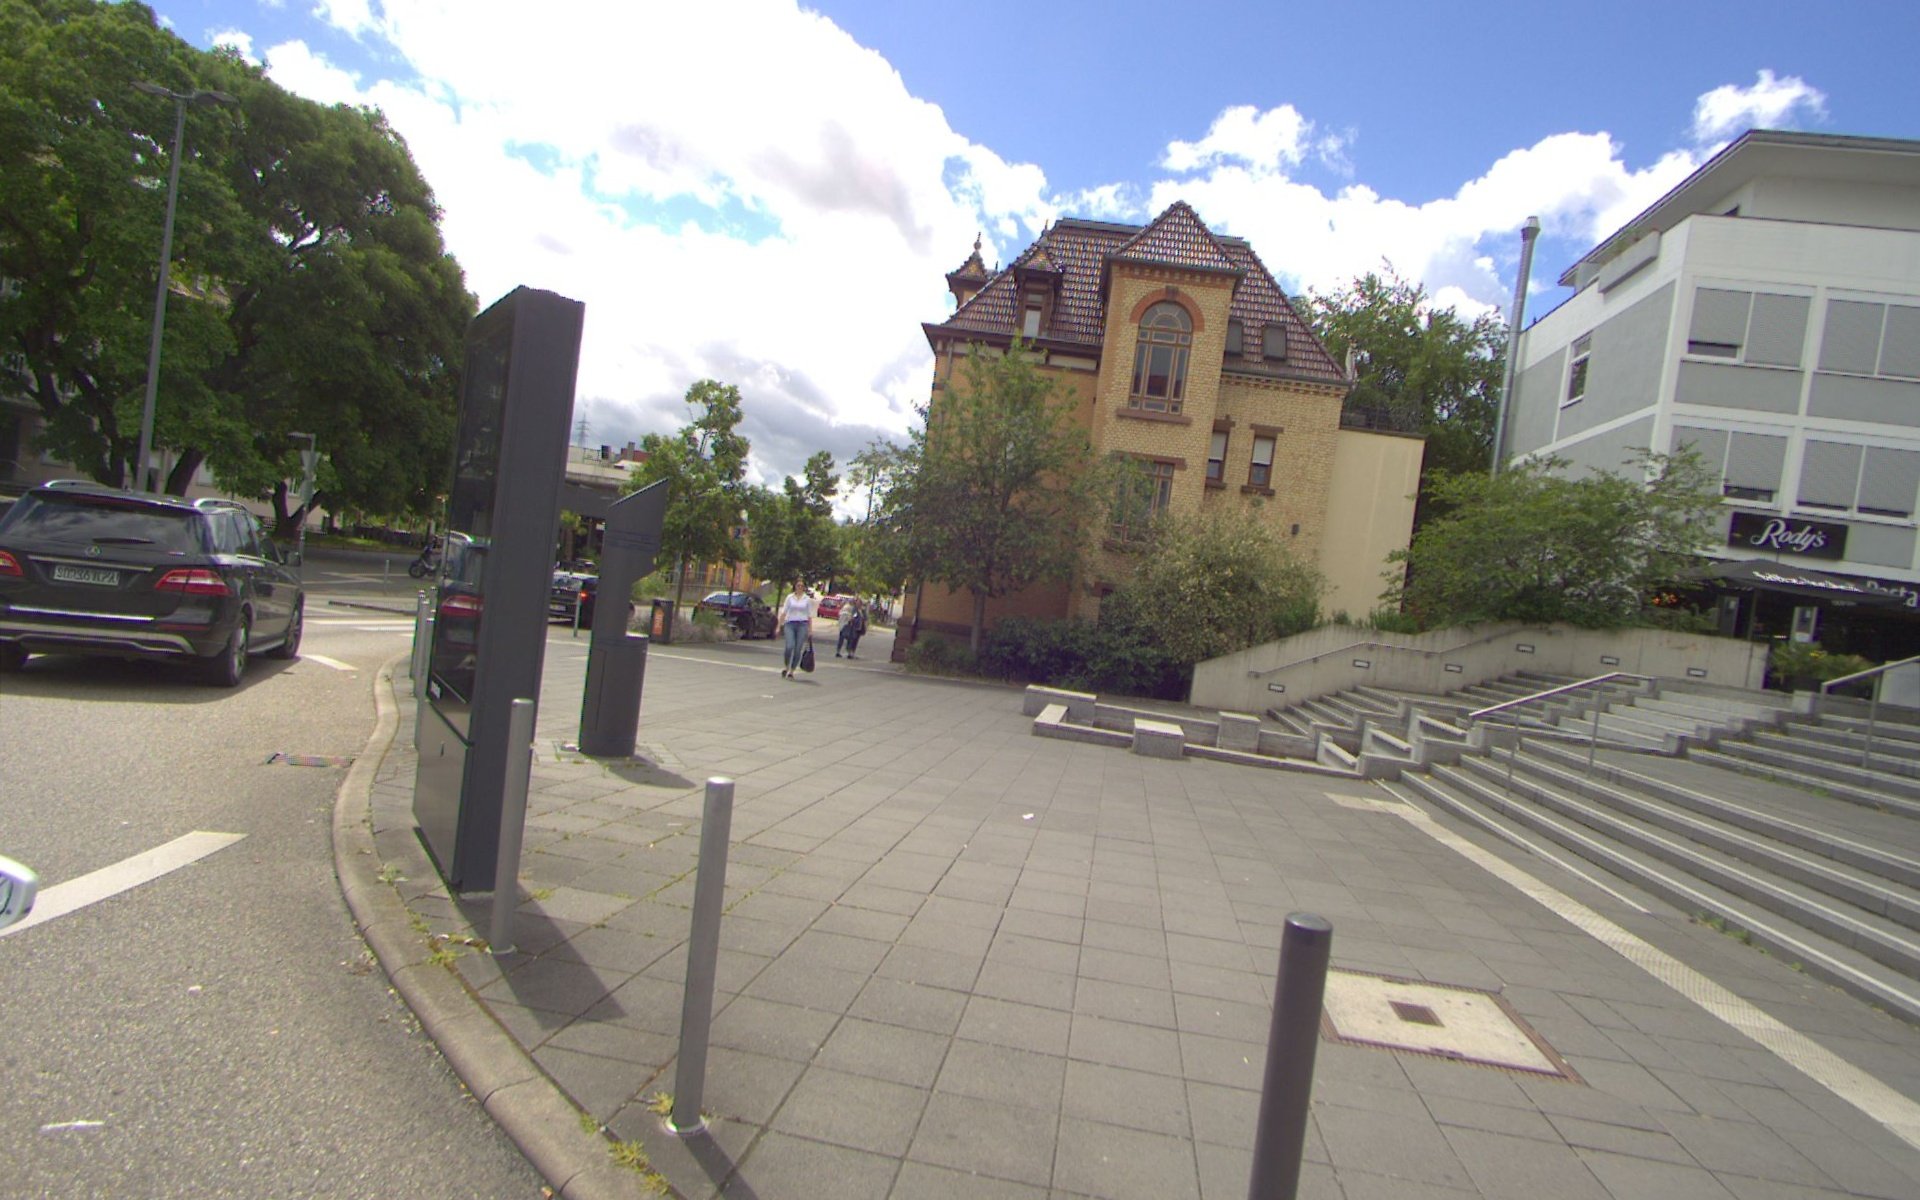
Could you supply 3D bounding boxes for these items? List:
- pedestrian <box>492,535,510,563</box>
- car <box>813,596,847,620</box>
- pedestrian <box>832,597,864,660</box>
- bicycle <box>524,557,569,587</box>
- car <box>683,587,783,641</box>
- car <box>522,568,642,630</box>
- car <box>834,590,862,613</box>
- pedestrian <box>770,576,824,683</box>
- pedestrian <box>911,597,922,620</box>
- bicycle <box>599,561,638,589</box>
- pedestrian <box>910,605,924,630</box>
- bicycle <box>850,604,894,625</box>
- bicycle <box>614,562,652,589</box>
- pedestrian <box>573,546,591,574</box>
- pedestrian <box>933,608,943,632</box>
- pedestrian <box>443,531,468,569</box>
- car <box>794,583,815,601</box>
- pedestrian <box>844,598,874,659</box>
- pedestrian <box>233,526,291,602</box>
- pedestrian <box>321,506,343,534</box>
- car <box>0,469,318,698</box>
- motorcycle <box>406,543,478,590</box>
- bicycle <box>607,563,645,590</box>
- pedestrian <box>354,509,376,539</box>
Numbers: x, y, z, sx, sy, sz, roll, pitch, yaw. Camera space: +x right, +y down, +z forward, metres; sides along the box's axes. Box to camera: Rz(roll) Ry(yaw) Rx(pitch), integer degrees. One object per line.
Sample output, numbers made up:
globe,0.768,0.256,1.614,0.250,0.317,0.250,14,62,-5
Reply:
pedestrian,-24.111,-2.672,52.870,0.573,1.397,0.615,7,1,-9
car,-8.888,0.547,69.108,1.584,1.400,3.836,7,0,1
pedestrian,-3.082,0.780,27.653,0.547,1.649,0.673,6,0,-24
bicycle,-16.761,-1.127,40.806,1.586,1.009,0.500,7,1,9
car,-7.252,0.484,32.650,1.827,1.423,4.376,6,-1,4
car,-10.307,0.002,27.725,1.583,1.400,3.837,7,0,2
car,-9.364,0.135,84.092,1.814,1.542,3.998,10,0,-2
pedestrian,-2.855,0.501,17.603,0.696,1.768,0.774,6,1,-14
pedestrian,-3.447,0.665,79.867,0.552,1.703,0.566,7,1,-19
bicycle,-16.174,-1.171,47.687,1.543,1.104,0.578,7,1,4
pedestrian,-2.999,1.227,70.170,0.652,1.703,0.568,7,1,7
bicycle,-6.443,1.073,73.608,3.013,1.161,0.709,7,1,-1
bicycle,-15.992,-1.199,49.235,1.543,1.104,0.578,7,1,4
pedestrian,-21.070,-2.229,56.061,0.572,1.482,0.616,7,1,12
pedestrian,-1.641,1.474,75.147,0.550,1.712,0.639,7,1,0
pedestrian,-22.457,-2.234,44.786,0.572,1.597,0.616,7,1,10
car,-17.074,-0.892,110.185,1.819,1.627,3.988,10,0,-13
pedestrian,-2.845,0.807,28.346,0.497,1.649,0.510,6,0,25
pedestrian,-15.267,-0.787,21.994,0.773,1.534,0.552,9,3,16
pedestrian,-37.997,-4.832,60.857,0.625,1.597,0.788,7,1,4
car,-8.223,-0.219,10.348,2.008,1.749,4.406,6,0,-25
motorcycle,-17.910,-1.165,34.795,2.099,1.306,0.583,9,3,5
bicycle,-16.071,-1.144,48.452,1.543,1.082,0.539,7,1,4
pedestrian,-35.942,-4.586,60.748,0.774,1.648,0.636,7,1,2
